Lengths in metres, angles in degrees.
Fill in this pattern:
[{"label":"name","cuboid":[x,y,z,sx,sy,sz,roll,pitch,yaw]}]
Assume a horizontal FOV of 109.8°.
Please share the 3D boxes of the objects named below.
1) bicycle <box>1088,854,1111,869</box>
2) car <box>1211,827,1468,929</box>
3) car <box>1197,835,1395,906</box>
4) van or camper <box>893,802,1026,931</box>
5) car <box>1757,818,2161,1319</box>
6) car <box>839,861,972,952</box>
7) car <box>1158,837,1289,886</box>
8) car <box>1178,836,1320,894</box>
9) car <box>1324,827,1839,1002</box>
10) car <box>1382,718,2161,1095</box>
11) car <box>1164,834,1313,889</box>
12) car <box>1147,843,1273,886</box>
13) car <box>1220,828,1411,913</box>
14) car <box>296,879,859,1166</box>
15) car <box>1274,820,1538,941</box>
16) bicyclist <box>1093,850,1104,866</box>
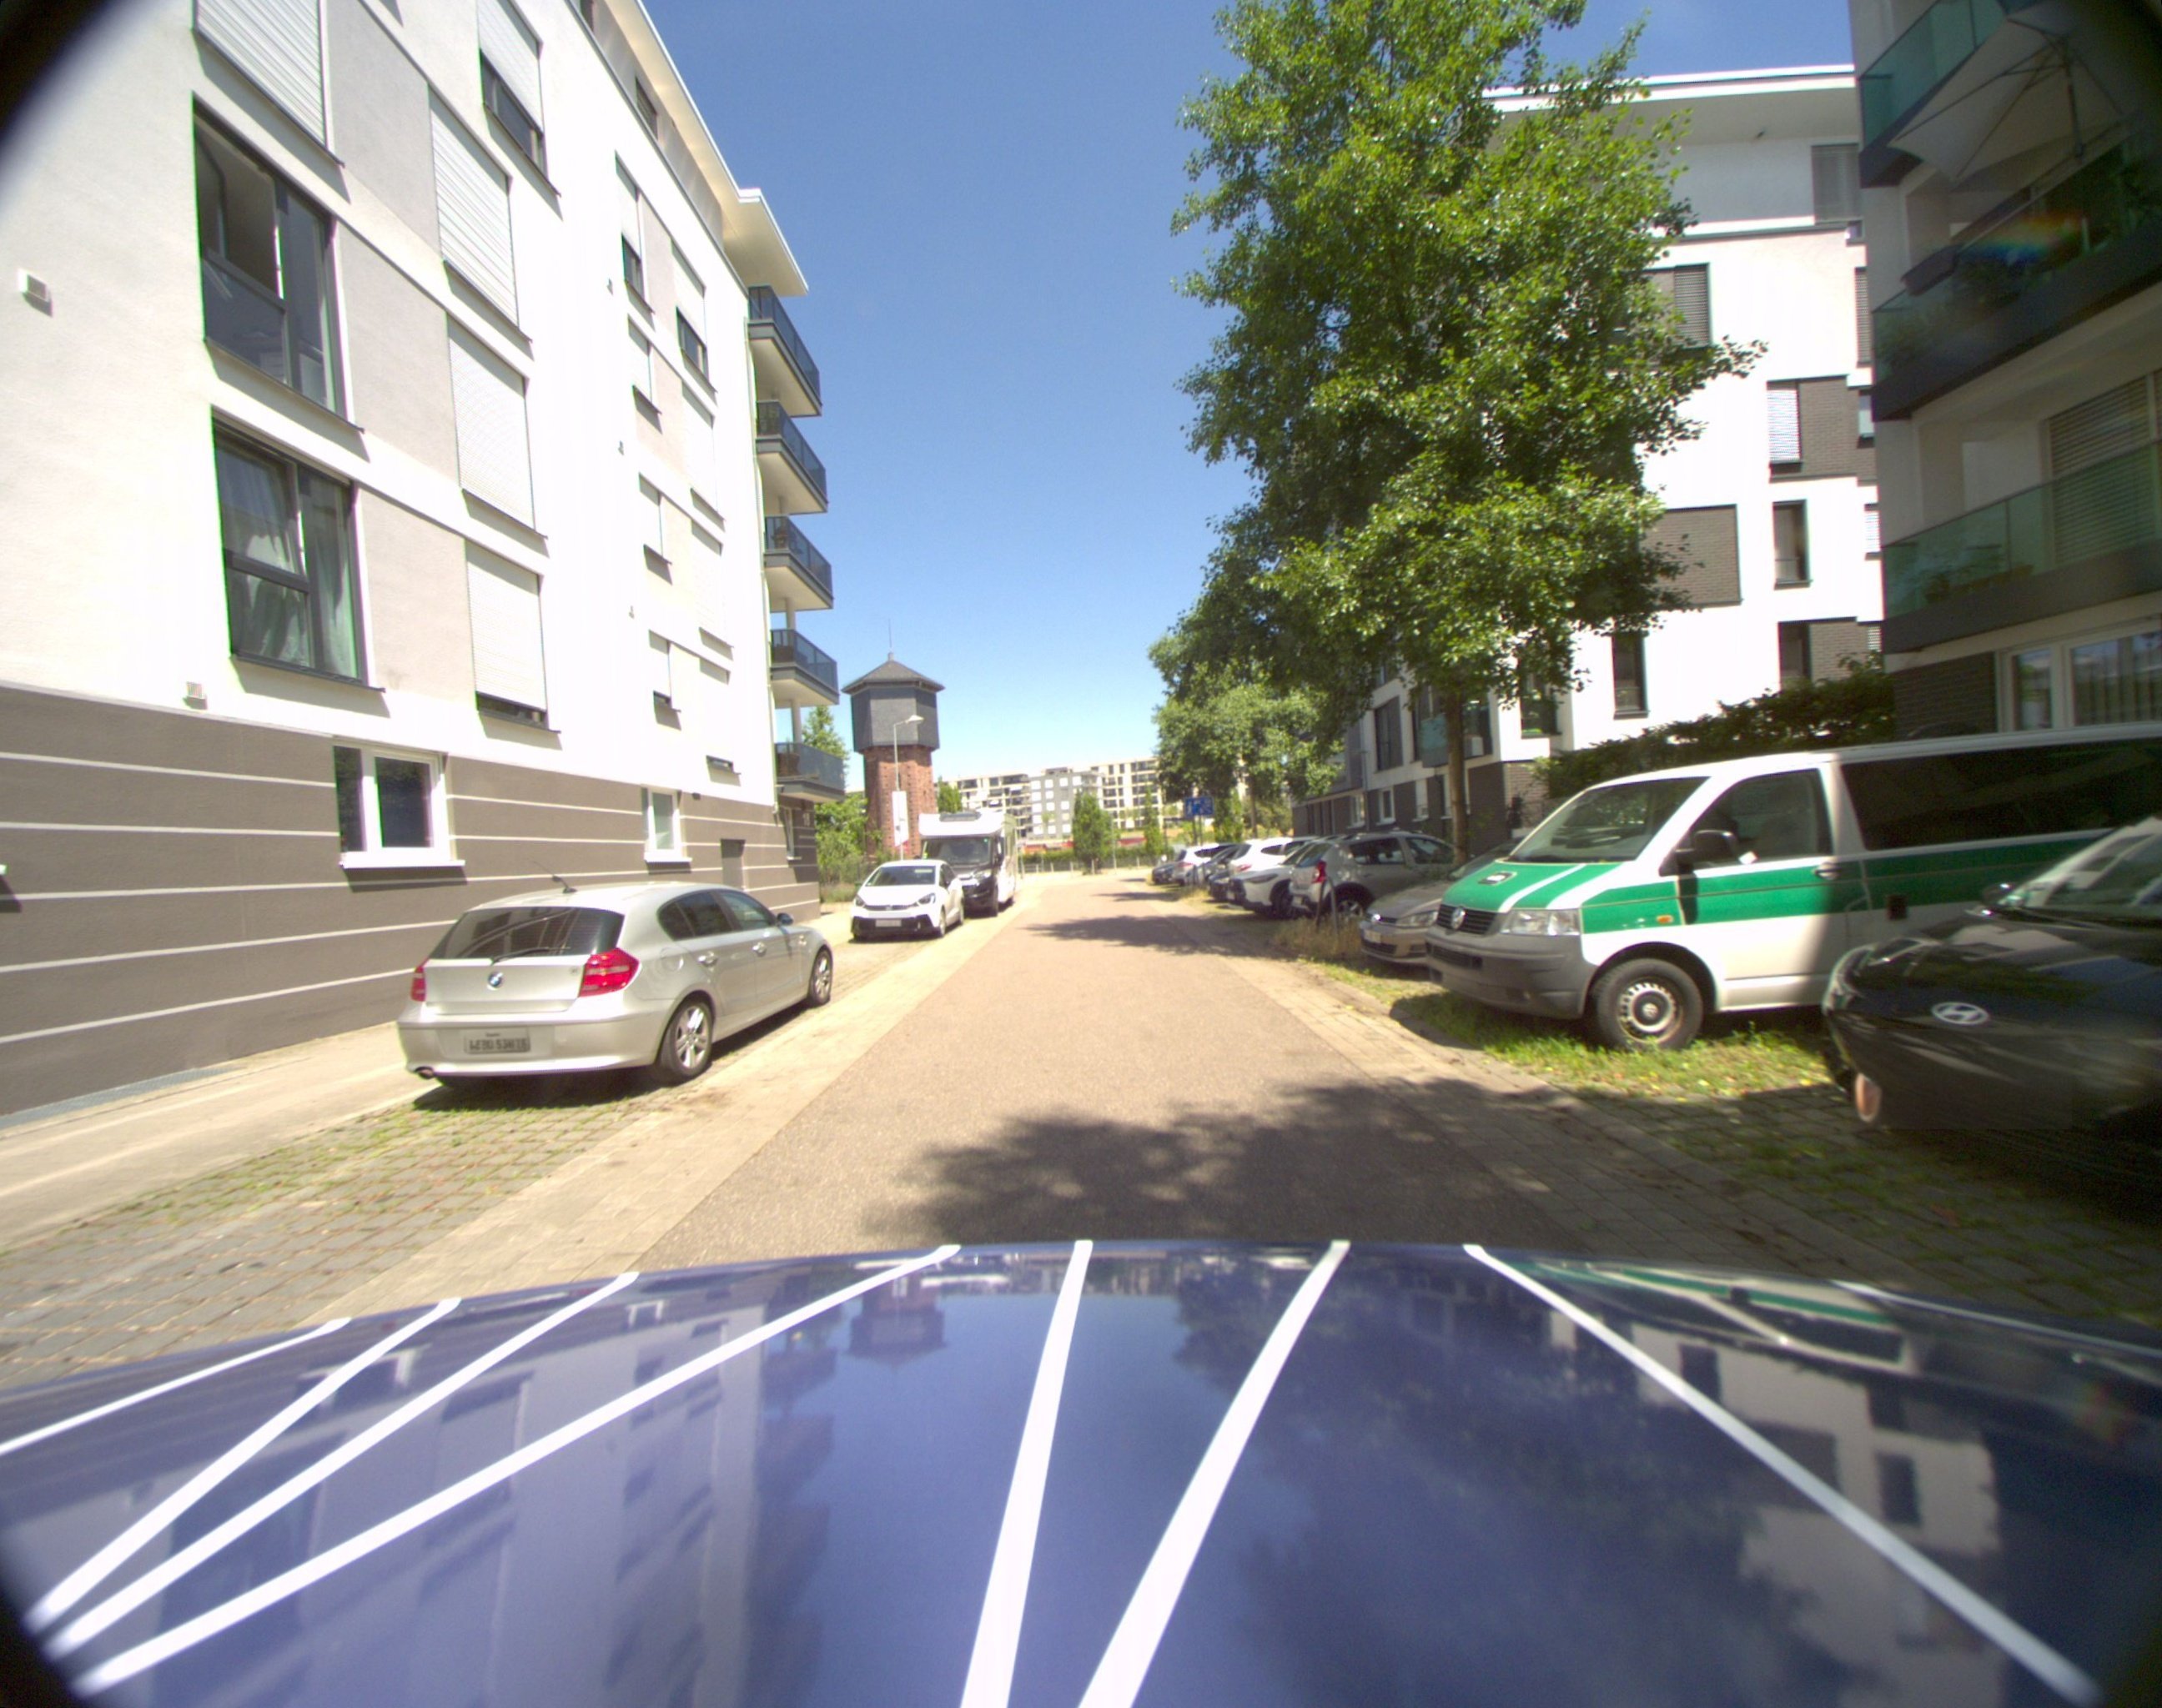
[{"label":"bicycle","cuboid":[1.632,0.699,67.453,1.937,1.192,0.592,-4,1,30]},{"label":"car","cuboid":[5.271,0.451,15.861,4.571,1.585,1.965,-5,1,-4]},{"label":"car","cuboid":[5.795,0.417,20.934,4.862,1.448,1.829,-5,1,1]},{"label":"van or camper","cuboid":[-3.181,0.241,21.991,2.445,2.889,7.824,-4,1,-1]},{"label":"car","cuboid":[5.173,0.581,2.894,3.632,1.473,1.678,-5,1,0]},{"label":"car","cuboid":[-3.443,0.952,15.717,1.812,1.496,4.260,-2,0,-2]},{"label":"car","cuboid":[5.709,0.293,30.848,4.831,1.441,1.827,-6,1,-2]},{"label":"car","cuboid":[5.597,0.369,25.715,4.262,1.522,1.822,-5,0,-3]},{"label":"car","cuboid":[5.300,0.587,8.527,4.432,1.481,1.999,-3,1,-1]},{"label":"car","cuboid":[5.397,0.292,5.679,5.354,2.098,2.187,-3,1,2]},{"label":"car","cuboid":[5.797,0.267,28.432,5.042,1.623,2.042,-4,0,-2]},{"label":"car","cuboid":[5.607,0.434,33.496,5.112,1.476,1.927,-4,1,-2]},{"label":"car","cuboid":[5.572,0.374,18.489,3.989,1.620,1.950,-5,1,3]},{"label":"car","cuboid":[-3.627,1.076,6.706,1.850,1.408,4.425,-4,1,1]},{"label":"car","cuboid":[5.493,0.422,13.220,3.689,1.666,1.852,-5,1,0]},{"label":"bicyclist","cuboid":[1.569,0.352,67.471,0.659,1.426,0.734,-4,1,30]}]
